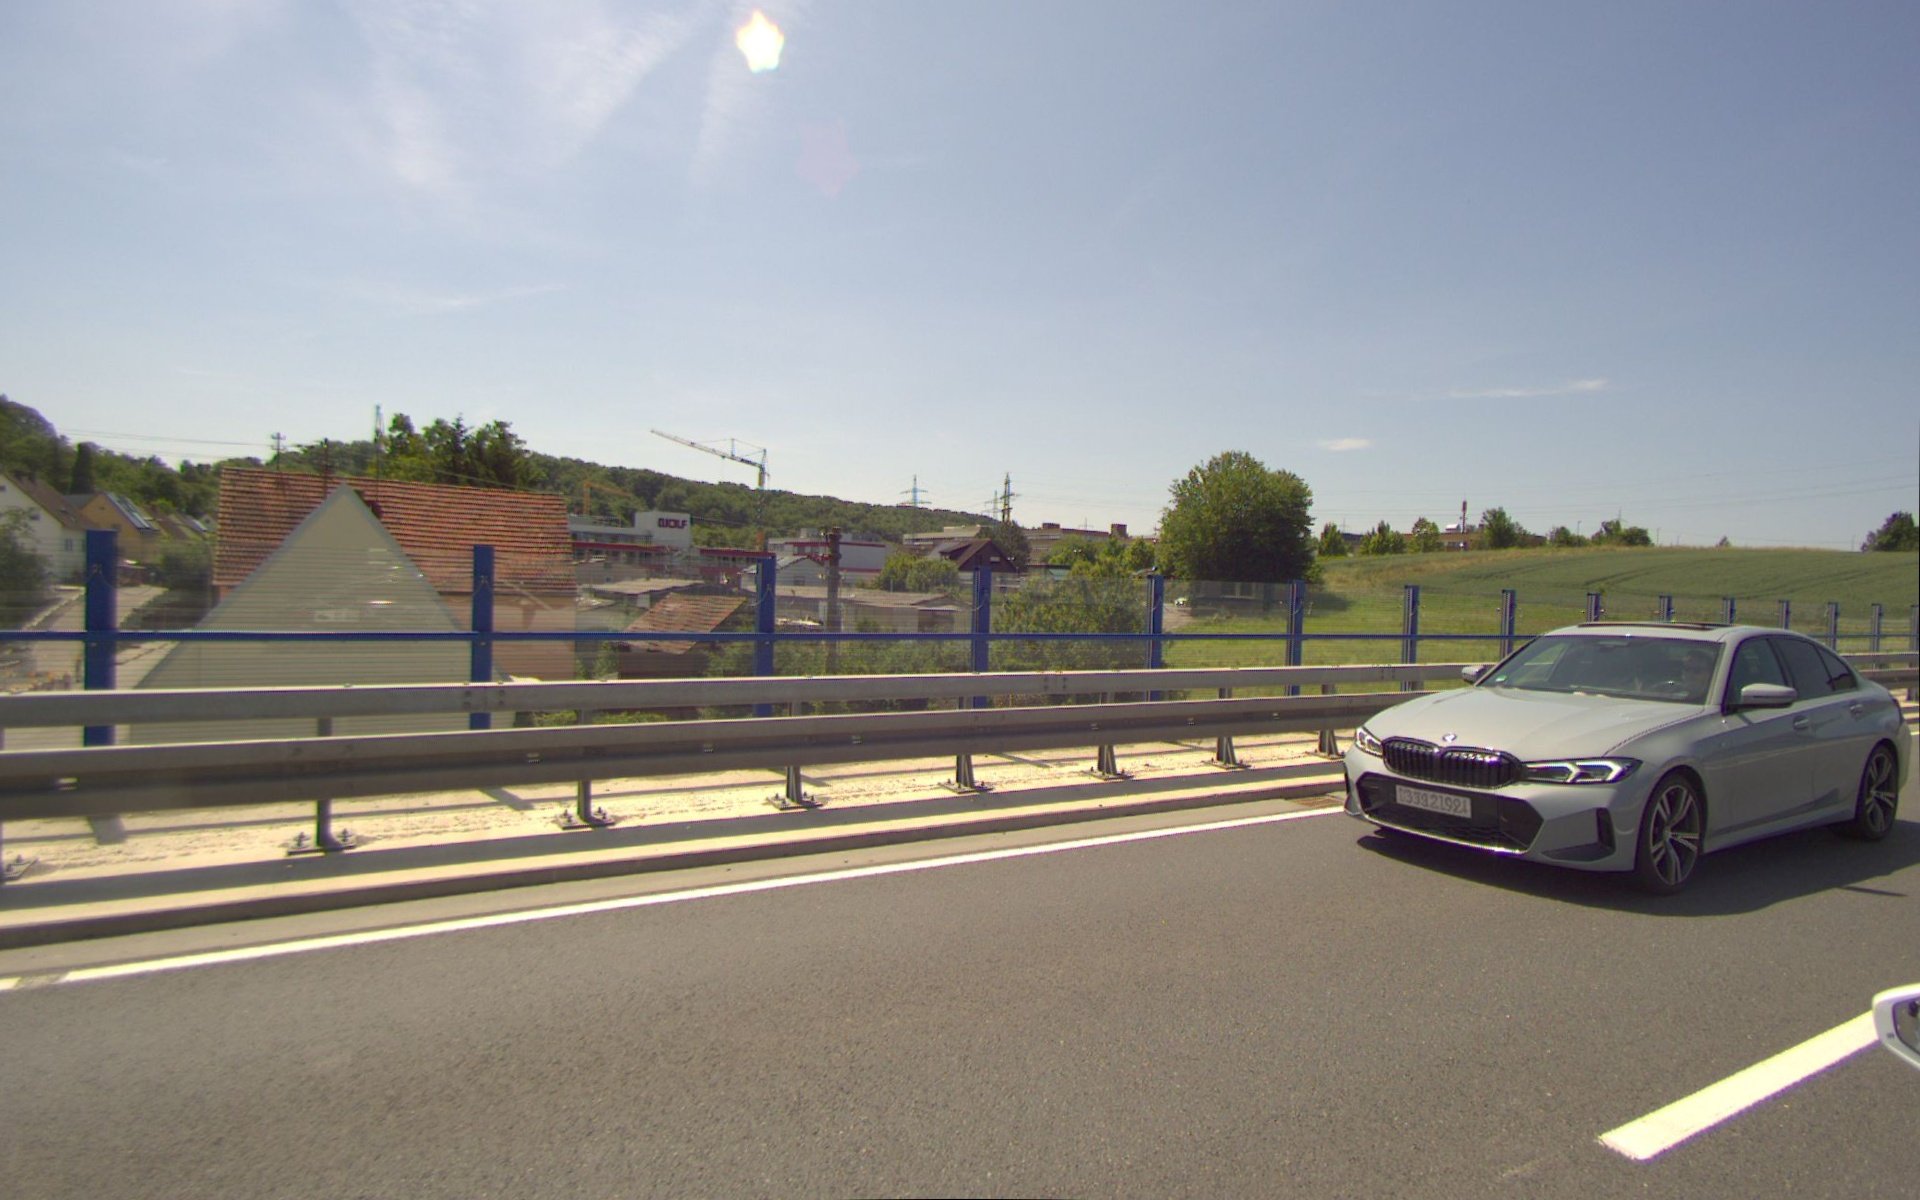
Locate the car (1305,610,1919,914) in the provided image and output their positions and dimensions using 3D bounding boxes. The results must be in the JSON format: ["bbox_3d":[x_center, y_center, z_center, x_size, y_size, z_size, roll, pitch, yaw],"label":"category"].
[{"bbox_3d":[4.689,0.846,6.869,4.779,1.455,1.772,2,-1,-31],"label":"car"}]
